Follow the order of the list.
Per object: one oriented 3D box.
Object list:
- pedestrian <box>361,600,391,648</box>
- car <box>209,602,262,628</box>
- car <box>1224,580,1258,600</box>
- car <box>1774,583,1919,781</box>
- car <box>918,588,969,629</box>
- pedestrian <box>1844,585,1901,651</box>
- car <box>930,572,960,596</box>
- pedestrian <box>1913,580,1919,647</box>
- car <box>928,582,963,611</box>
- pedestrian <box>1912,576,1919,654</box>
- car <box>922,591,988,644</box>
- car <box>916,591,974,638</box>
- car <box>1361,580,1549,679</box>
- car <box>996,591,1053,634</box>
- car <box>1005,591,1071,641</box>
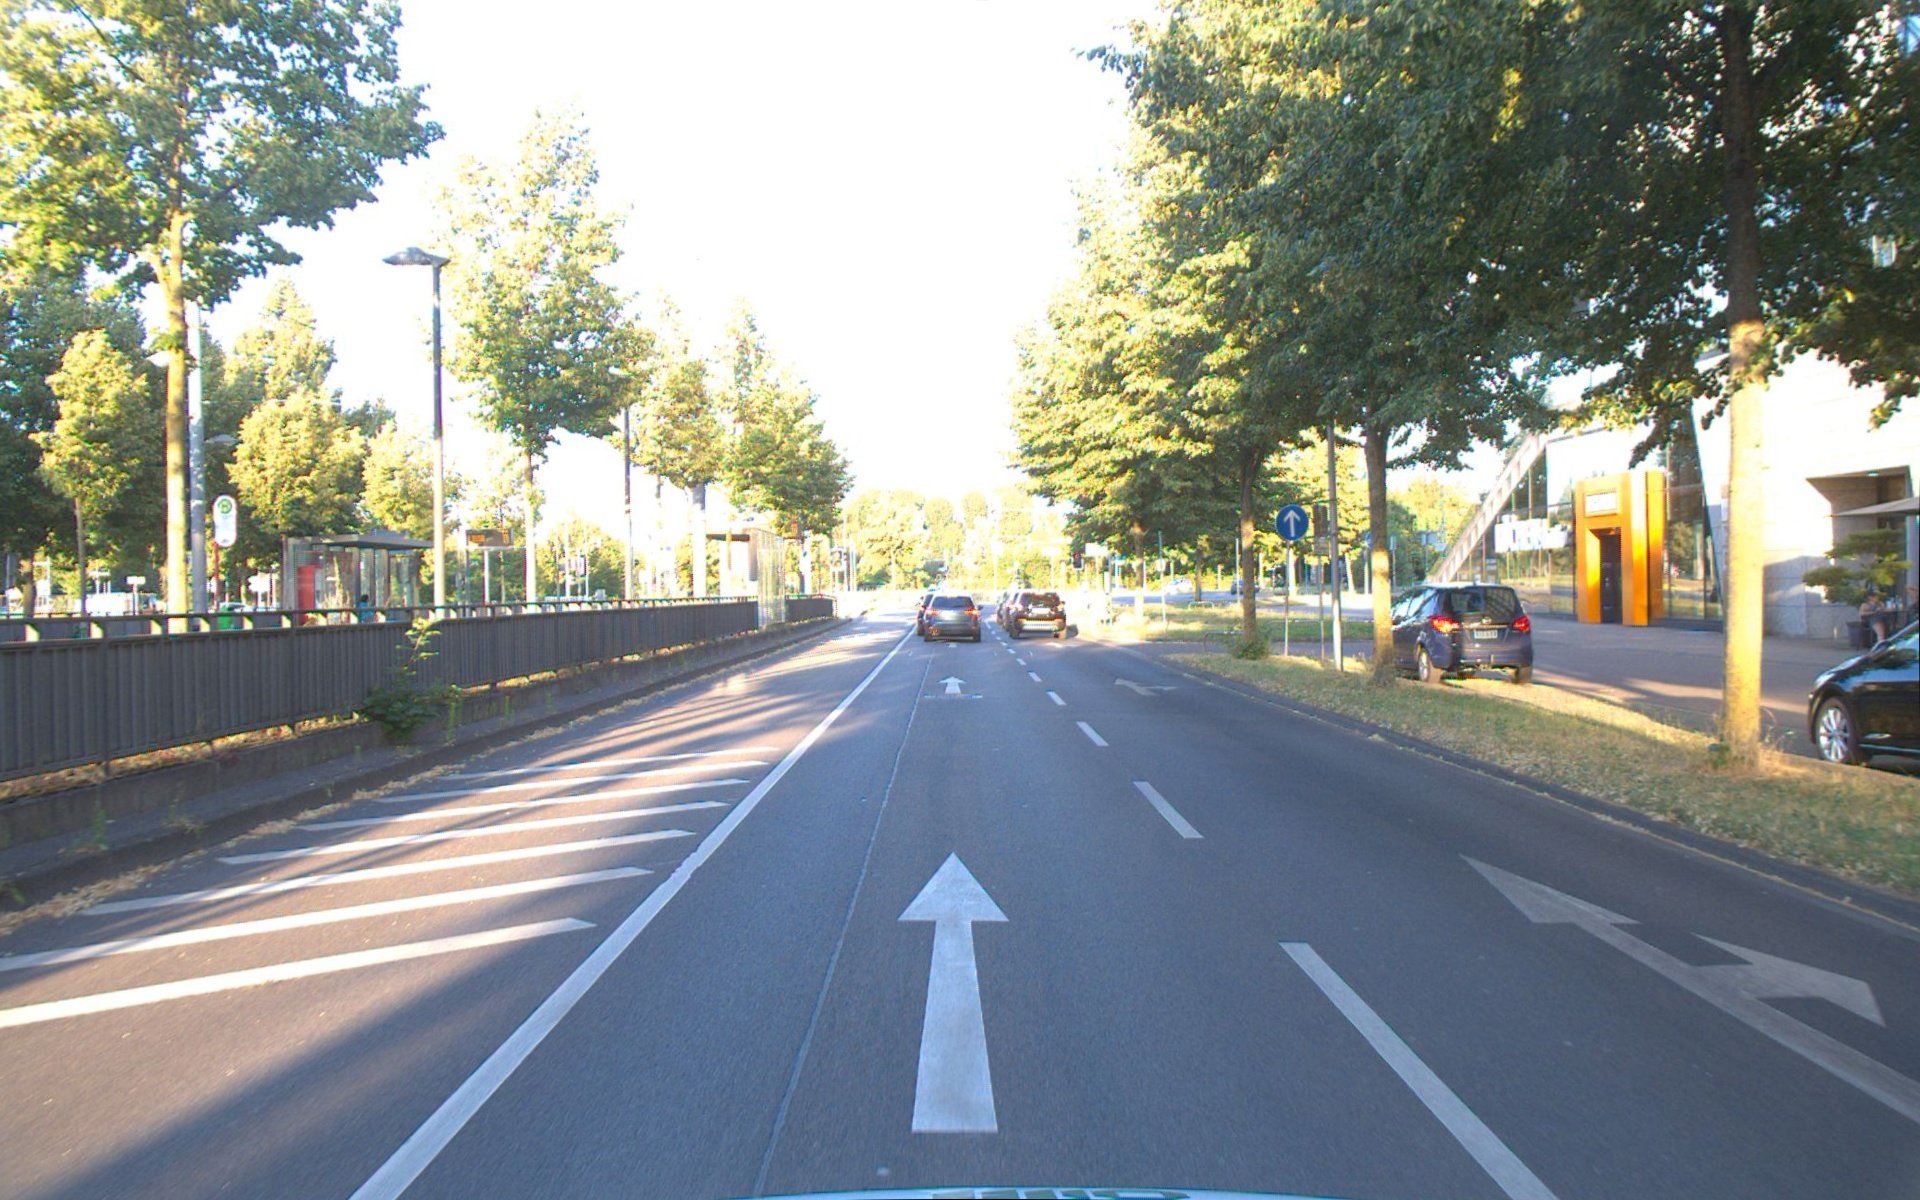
[{"bbox_3d":[-16.945,0.688,47.994,0.602,1.342,0.744,-1,0,-4],"label":"pedestrian"},{"bbox_3d":[-50.980,1.037,116.420,1.953,1.691,4.000,-1,0,-1],"label":"car"},{"bbox_3d":[25.259,-0.906,148.653,1.954,1.758,3.997,-1,0,25],"label":"car"},{"bbox_3d":[8.213,0.619,12.637,1.742,1.497,4.286,-1,0,-2],"label":"car"},{"bbox_3d":[-0.652,0.323,64.412,1.873,1.512,3.999,-1,0,-1],"label":"car"},{"bbox_3d":[16.954,0.325,30.742,0.560,1.207,0.861,-1,0,1],"label":"pedestrian"},{"bbox_3d":[-0.988,-1.041,107.876,1.873,1.512,3.999,-1,0,-1],"label":"car"},{"bbox_3d":[17.635,0.242,29.705,0.608,1.207,0.712,-1,0,-37],"label":"pedestrian"},{"bbox_3d":[-0.845,-0.204,91.580,1.873,1.512,3.999,-1,0,-1],"label":"car"},{"bbox_3d":[16.336,0.246,27.430,0.617,1.305,0.712,-1,0,-22],"label":"pedestrian"},{"bbox_3d":[-0.179,0.493,50.150,1.873,1.512,3.999,-1,0,-1],"label":"car"},{"bbox_3d":[-0.520,0.468,56.436,1.873,1.512,3.999,-1,0,-1],"label":"car"},{"bbox_3d":[8.184,0.443,27.712,1.722,1.491,4.156,-1,0,-3],"label":"car"},{"bbox_3d":[2.390,0.447,61.811,1.873,1.512,3.999,-1,0,-1],"label":"car"},{"bbox_3d":[2.490,0.491,53.908,1.873,1.512,3.999,-1,0,-1],"label":"car"}]
